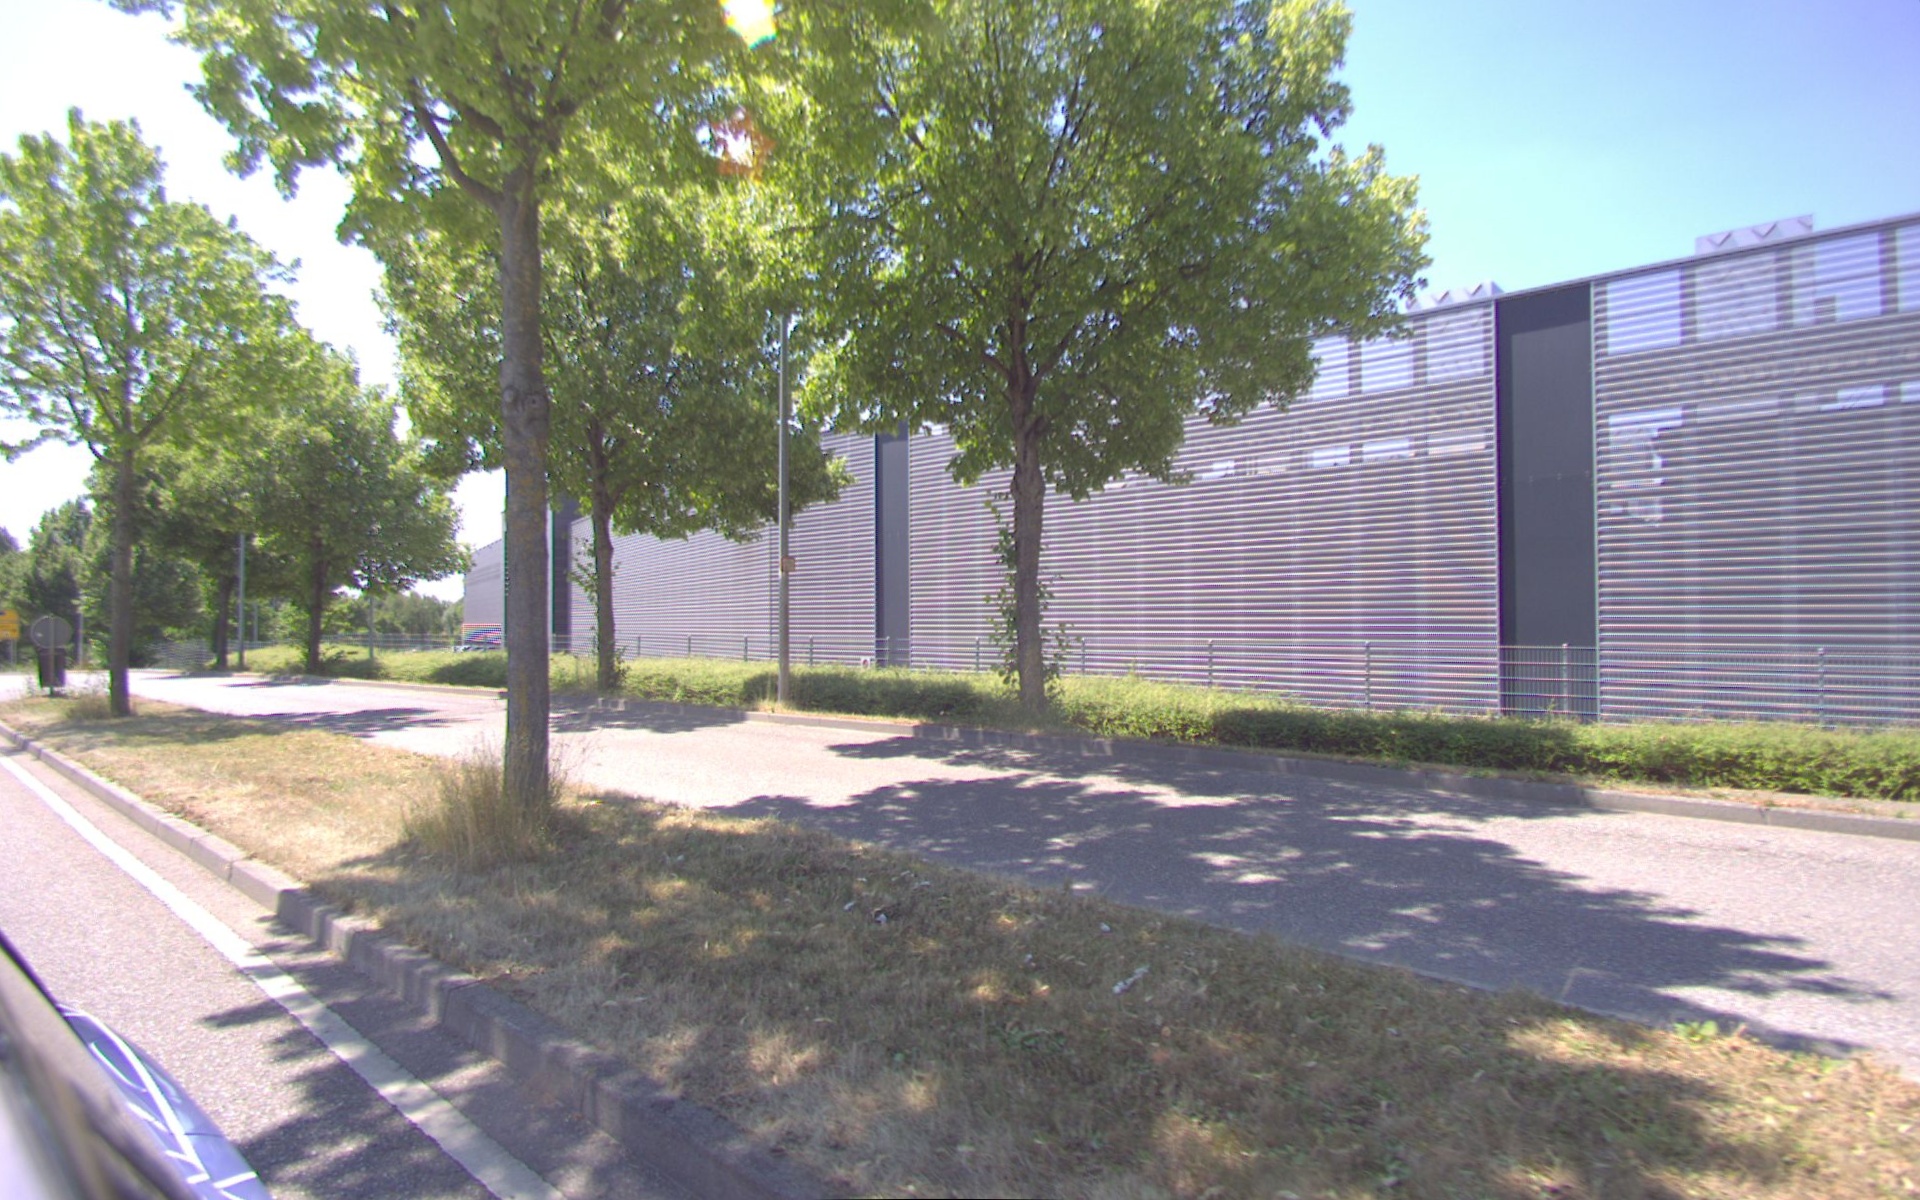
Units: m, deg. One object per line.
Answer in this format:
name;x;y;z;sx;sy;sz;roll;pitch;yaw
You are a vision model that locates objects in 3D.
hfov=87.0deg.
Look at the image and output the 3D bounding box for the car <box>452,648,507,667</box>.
car;-40.823;4.868;85.965;3.934;1.497;2.004;2;-6;-37
